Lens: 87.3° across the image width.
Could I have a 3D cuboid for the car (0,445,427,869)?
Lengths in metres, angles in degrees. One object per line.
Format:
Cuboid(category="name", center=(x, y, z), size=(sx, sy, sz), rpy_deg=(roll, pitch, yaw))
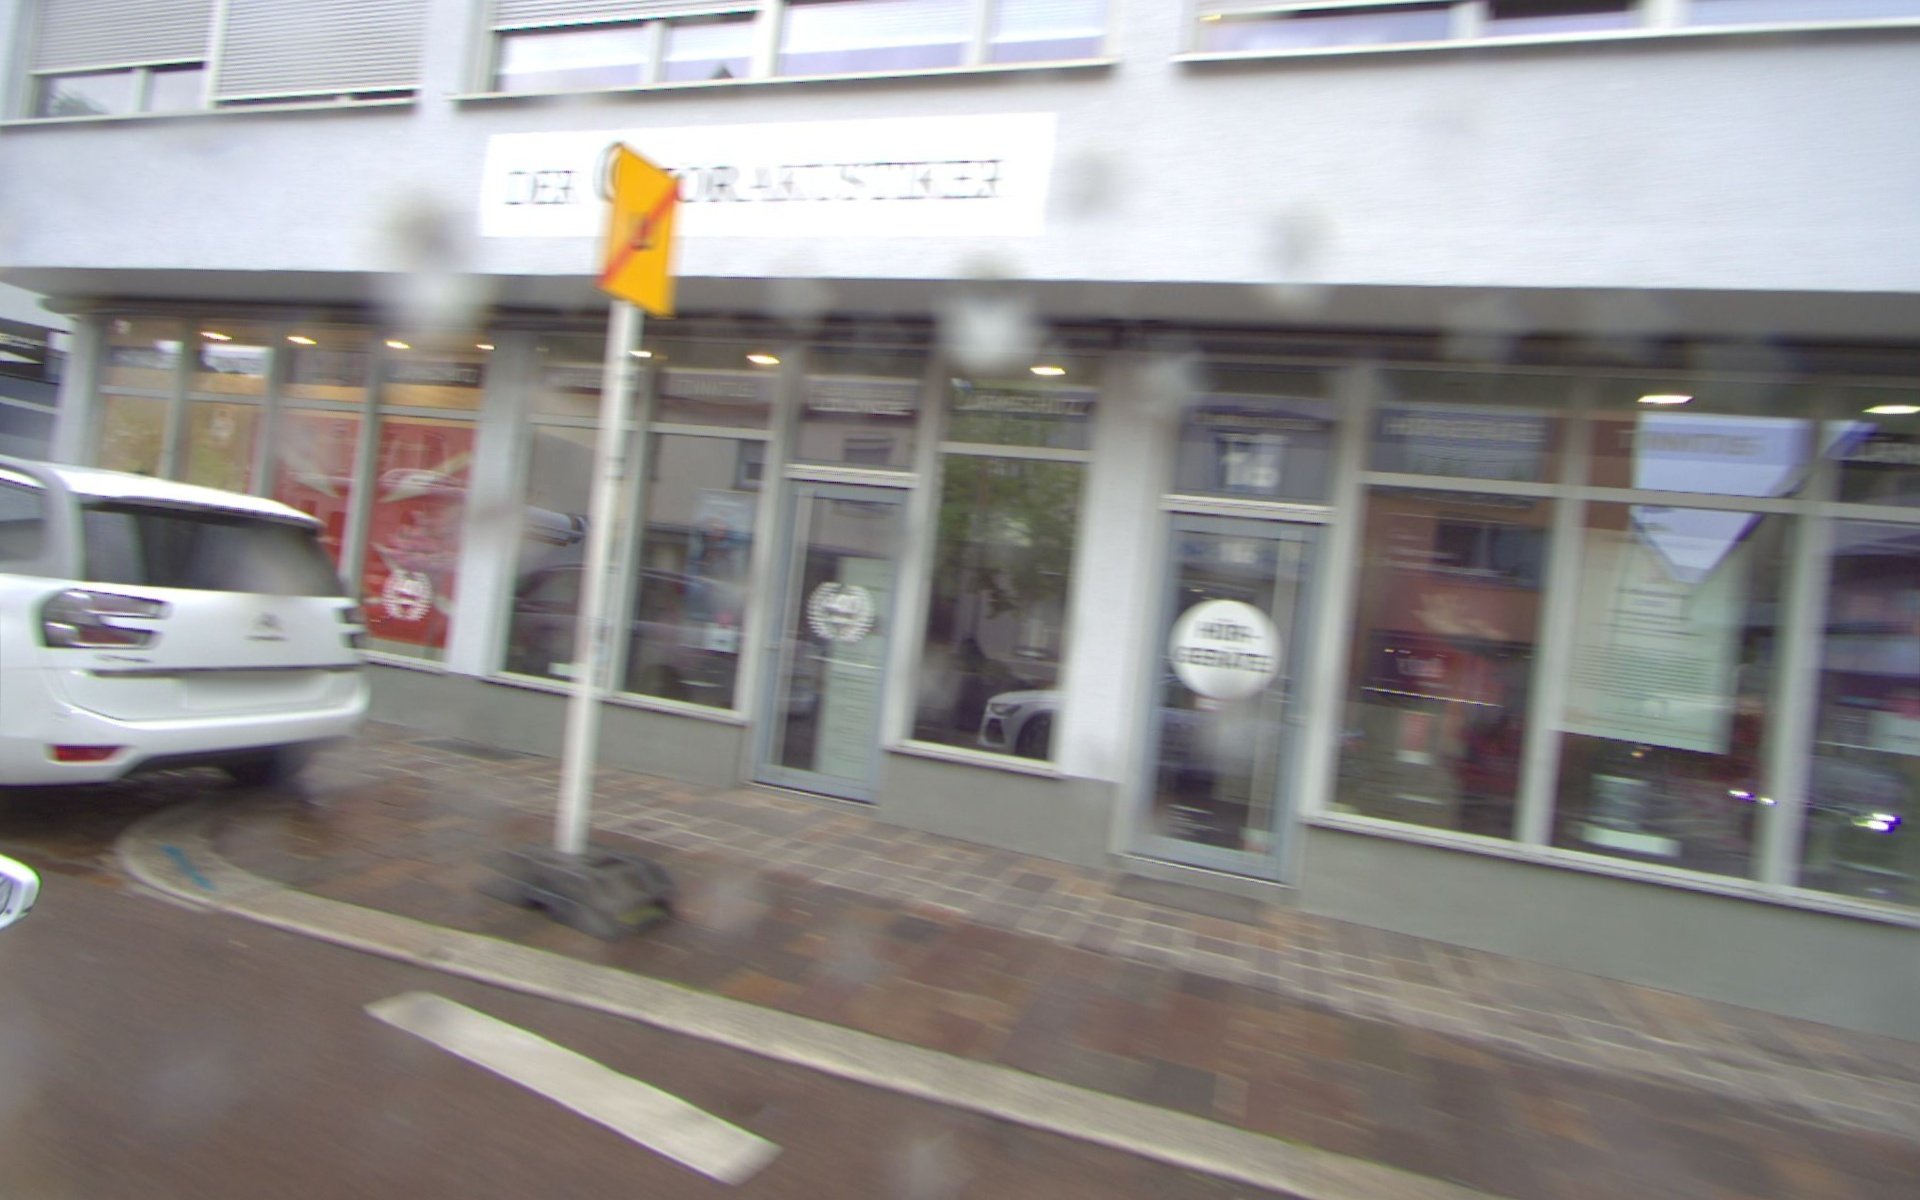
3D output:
Cuboid(category="car", center=(-5.448, 0.048, 5.354), size=(4.384, 1.650, 1.783), rpy_deg=(7, -1, 13))
